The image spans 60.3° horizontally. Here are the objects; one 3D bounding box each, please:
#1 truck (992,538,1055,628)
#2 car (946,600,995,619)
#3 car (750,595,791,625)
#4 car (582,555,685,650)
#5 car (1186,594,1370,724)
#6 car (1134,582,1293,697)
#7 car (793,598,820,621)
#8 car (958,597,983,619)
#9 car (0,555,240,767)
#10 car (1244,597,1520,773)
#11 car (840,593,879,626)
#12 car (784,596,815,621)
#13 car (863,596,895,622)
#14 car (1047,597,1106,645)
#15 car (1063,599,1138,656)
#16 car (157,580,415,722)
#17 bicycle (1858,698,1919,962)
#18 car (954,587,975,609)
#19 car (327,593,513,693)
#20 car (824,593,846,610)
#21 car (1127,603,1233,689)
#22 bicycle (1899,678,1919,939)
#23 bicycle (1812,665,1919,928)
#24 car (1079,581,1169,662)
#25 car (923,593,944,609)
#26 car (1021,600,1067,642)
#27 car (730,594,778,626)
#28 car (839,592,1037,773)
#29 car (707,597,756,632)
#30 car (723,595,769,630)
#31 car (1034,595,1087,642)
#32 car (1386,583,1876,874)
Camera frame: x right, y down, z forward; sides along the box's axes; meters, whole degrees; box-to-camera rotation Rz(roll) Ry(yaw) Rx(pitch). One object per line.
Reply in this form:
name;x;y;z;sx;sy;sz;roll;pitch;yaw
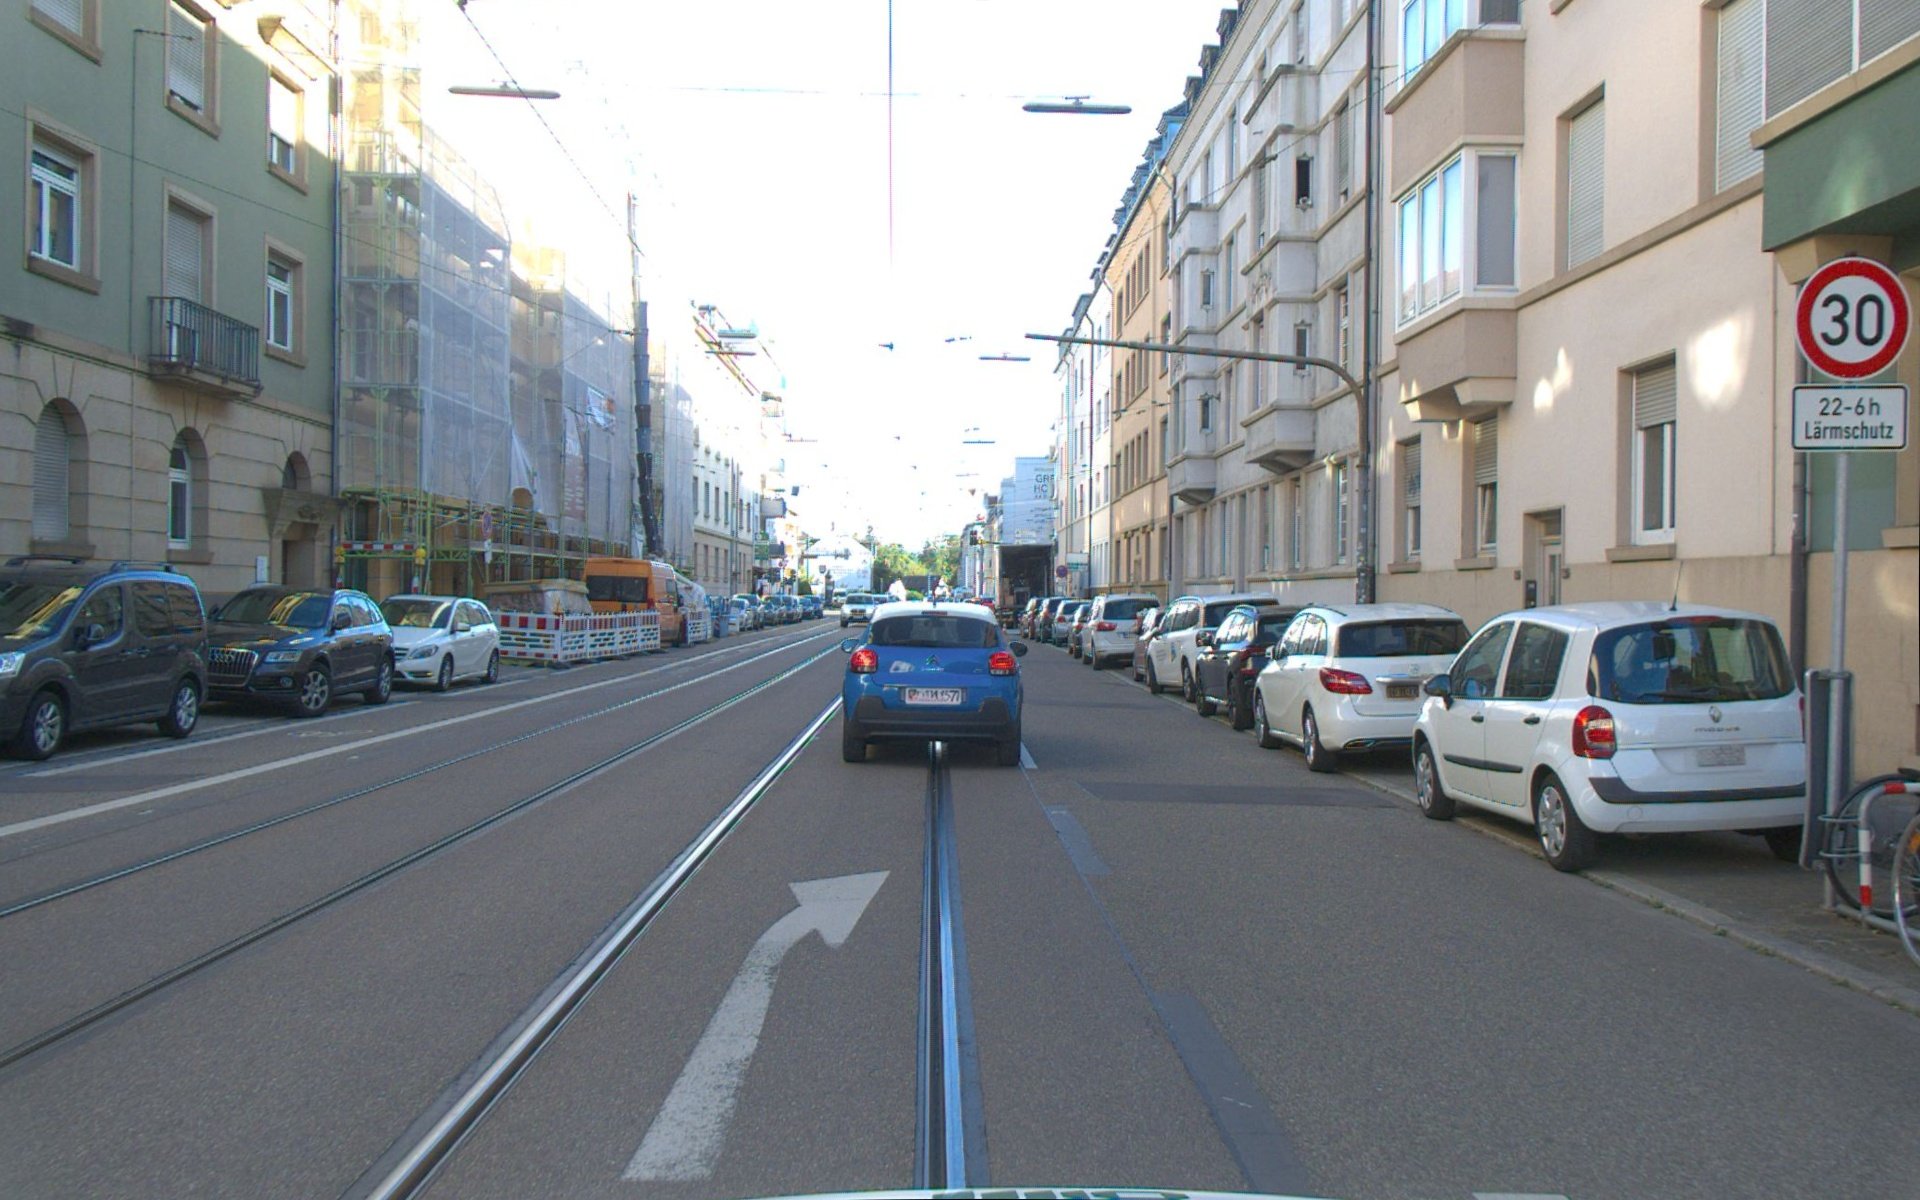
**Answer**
truck;3.052;-0.777;82.279;2.794;4.154;11.270;0;0;0
car;0.859;0.782;137.189;3.939;1.513;1.758;0;0;-5
car;-10.552;0.550;92.508;1.789;1.660;4.848;0;0;-1
car;-9.053;0.054;46.268;2.101;2.519;4.977;0;0;-3
car;4.181;0.720;22.375;1.621;1.594;4.337;0;0;-1
car;4.202;0.620;28.079;1.622;1.782;4.598;0;0;-5
car;-10.962;0.662;118.585;1.789;1.660;3.902;0;0;-3
car;0.718;0.566;115.466;1.729;1.513;4.031;0;0;-1
car;-9.153;0.492;16.654;1.747;1.847;4.528;2;0;0
car;4.220;0.775;17.239;1.747;1.603;4.325;0;0;-1
car;-5.163;0.493;85.305;1.789;1.660;4.490;0;0;-1
car;-10.884;0.592;112.575;1.789;1.660;3.904;0;0;-1
car;-5.130;0.554;105.030;1.863;1.660;4.266;0;0;-1
car;3.885;0.679;55.722;1.630;1.546;4.221;0;0;-1
car;3.869;0.739;46.038;1.687;1.513;4.221;0;0;-1
car;-8.961;0.612;22.455;1.748;1.655;4.606;2;0;-3
bicycle;4.158;0.973;6.489;0.345;1.063;1.728;0;0;1
car;0.497;-0.217;174.477;2.174;2.324;4.083;0;0;-1
car;-9.207;0.685;28.567;1.683;1.529;4.388;2;0;1
car;-12.665;0.123;167.612;1.863;1.660;4.266;0;0;-1
car;4.277;0.856;32.587;1.581;1.588;3.599;0;0;-1
bicycle;5.161;0.903;7.329;1.687;1.174;0.469;-3;0;-1
bicycle;5.088;0.894;7.954;1.687;1.174;0.469;-3;0;-1
car;3.933;0.487;40.295;1.695;1.859;4.686;0;0;-1
car;-2.645;0.072;165.975;2.136;1.513;4.159;1;0;-1
car;3.361;0.819;66.576;1.630;1.662;3.870;0;0;-1
car;-10.754;0.503;86.730;2.101;1.650;3.999;0;0;-1
car;-0.212;0.724;16.633;1.700;1.533;3.992;2;0;-1
car;-10.219;0.639;74.184;1.679;1.544;4.047;0;0;-1
car;-10.169;0.581;78.761;1.679;1.622;4.266;0;0;-1
car;3.647;0.657;60.562;1.630;1.676;4.221;0;0;-1
car;4.357;0.734;11.465;1.747;1.660;3.999;0;0;-1
